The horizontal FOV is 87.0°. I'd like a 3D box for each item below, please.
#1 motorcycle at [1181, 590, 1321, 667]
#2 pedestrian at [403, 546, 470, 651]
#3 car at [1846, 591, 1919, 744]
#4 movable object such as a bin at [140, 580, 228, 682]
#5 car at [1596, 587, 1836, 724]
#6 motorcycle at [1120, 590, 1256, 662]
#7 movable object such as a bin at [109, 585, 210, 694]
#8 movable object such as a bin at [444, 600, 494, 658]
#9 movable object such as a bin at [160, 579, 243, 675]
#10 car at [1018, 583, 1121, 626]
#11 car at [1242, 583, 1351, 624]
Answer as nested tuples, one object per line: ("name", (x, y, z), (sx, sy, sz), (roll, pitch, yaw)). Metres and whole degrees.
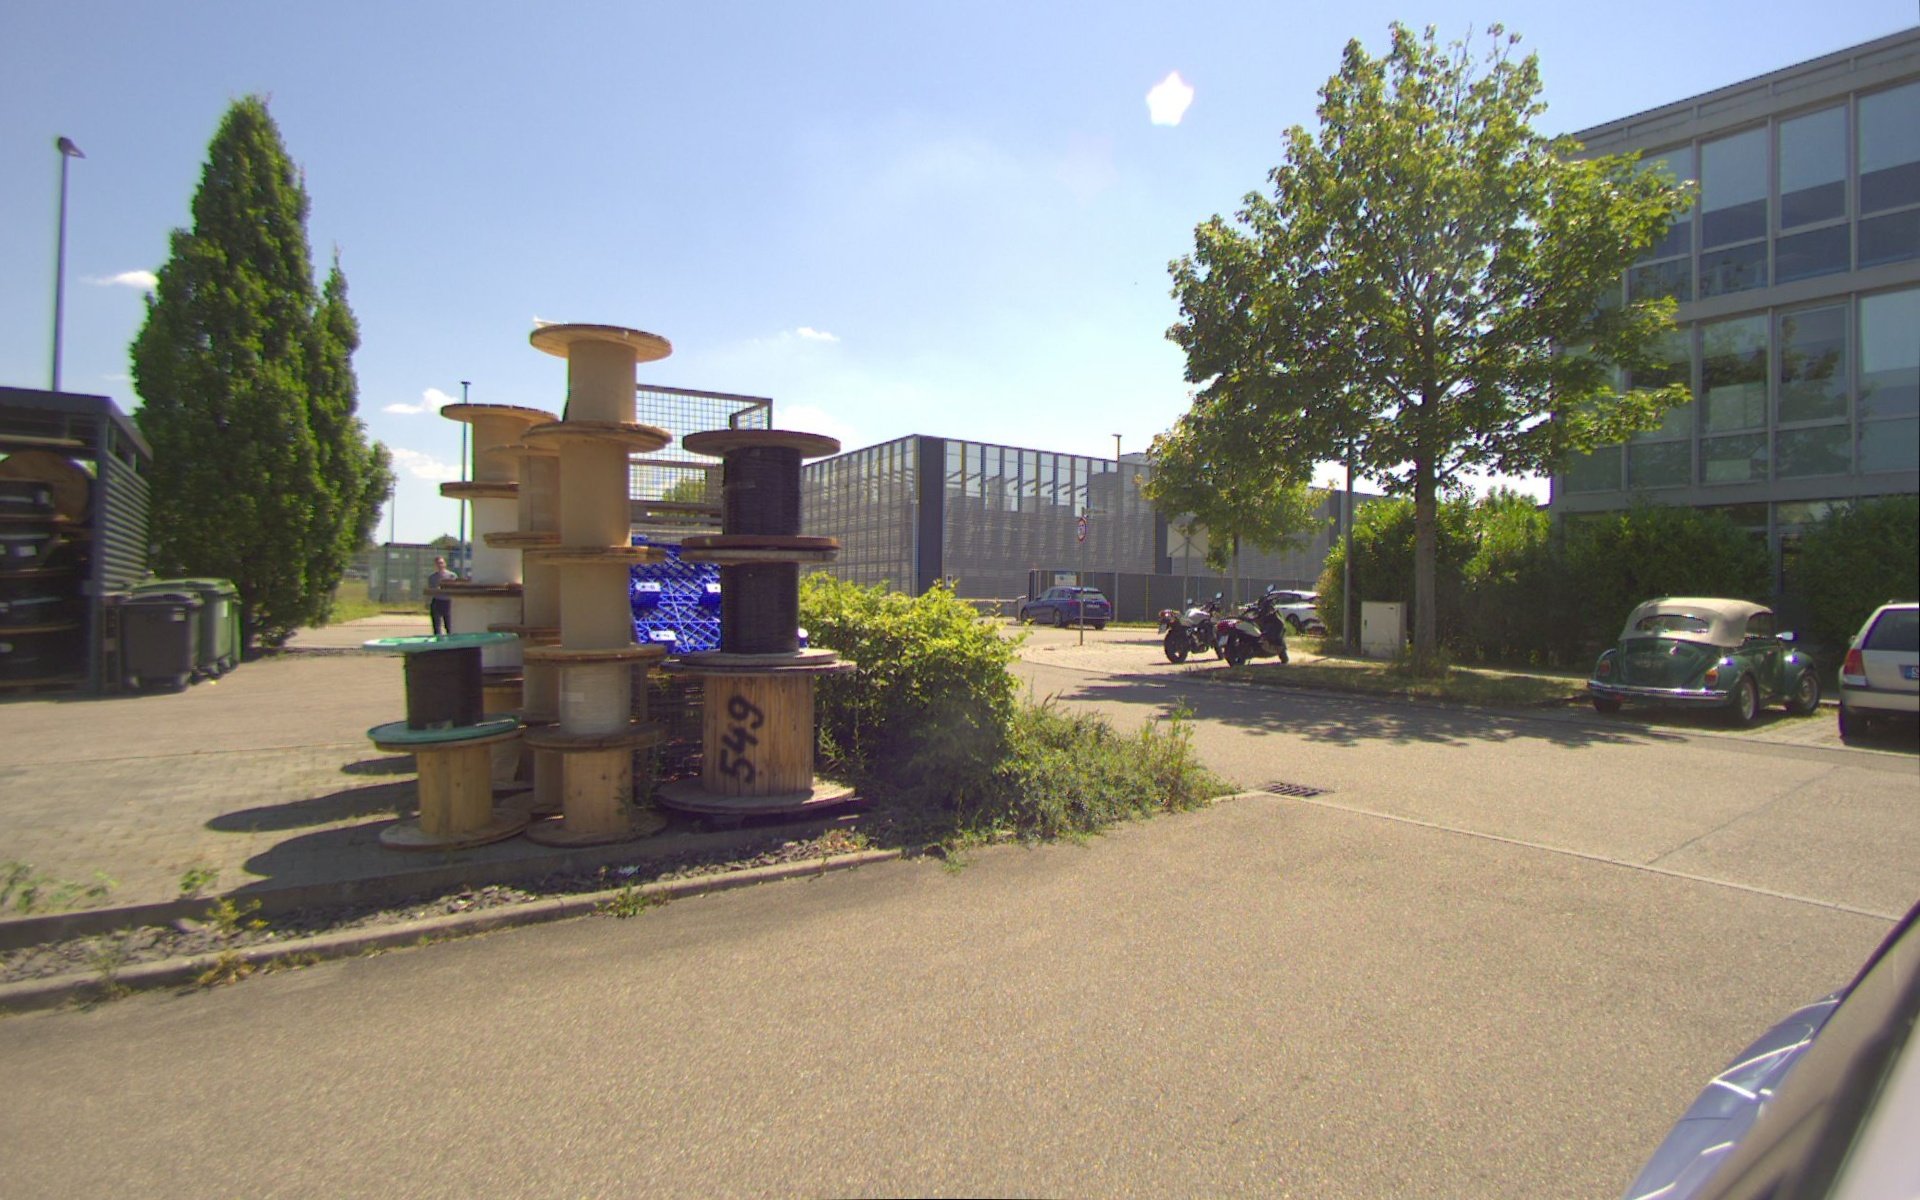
("motorcycle", (5.252, 0.469, 18.155), (2.782, 1.275, 0.874), (-1, 1, -36))
("pedestrian", (-9.219, -0.033, 17.855), (0.793, 1.791, 0.769), (1, 1, -3))
("car", (10.919, 0.669, 10.854), (3.538, 1.470, 1.641), (-1, 2, -41))
("movable object such as a bin", (-10.426, 0.388, 13.625), (0.785, 1.314, 0.757), (0, 1, -25))
("car", (9.504, 0.588, 12.660), (3.356, 1.463, 1.522), (0, 2, -37))
("motorcycle", (4.344, 0.450, 19.146), (2.782, 1.275, 0.874), (-1, 1, -36))
("movable object such as a bin", (-9.840, 0.458, 12.481), (0.785, 1.265, 0.878), (0, 1, -25))
("movable object such as a bin", (-8.248, 0.474, 17.001), (0.581, 0.929, 0.541), (1, 1, 32))
("movable object such as a bin", (-10.783, 0.359, 14.412), (0.785, 1.314, 0.811), (0, 1, -25))
("car", (3.833, 0.117, 36.208), (1.820, 1.427, 4.456), (0, 1, -21))
("car", (12.984, 0.110, 39.378), (1.743, 1.494, 4.424), (0, 1, -18))
